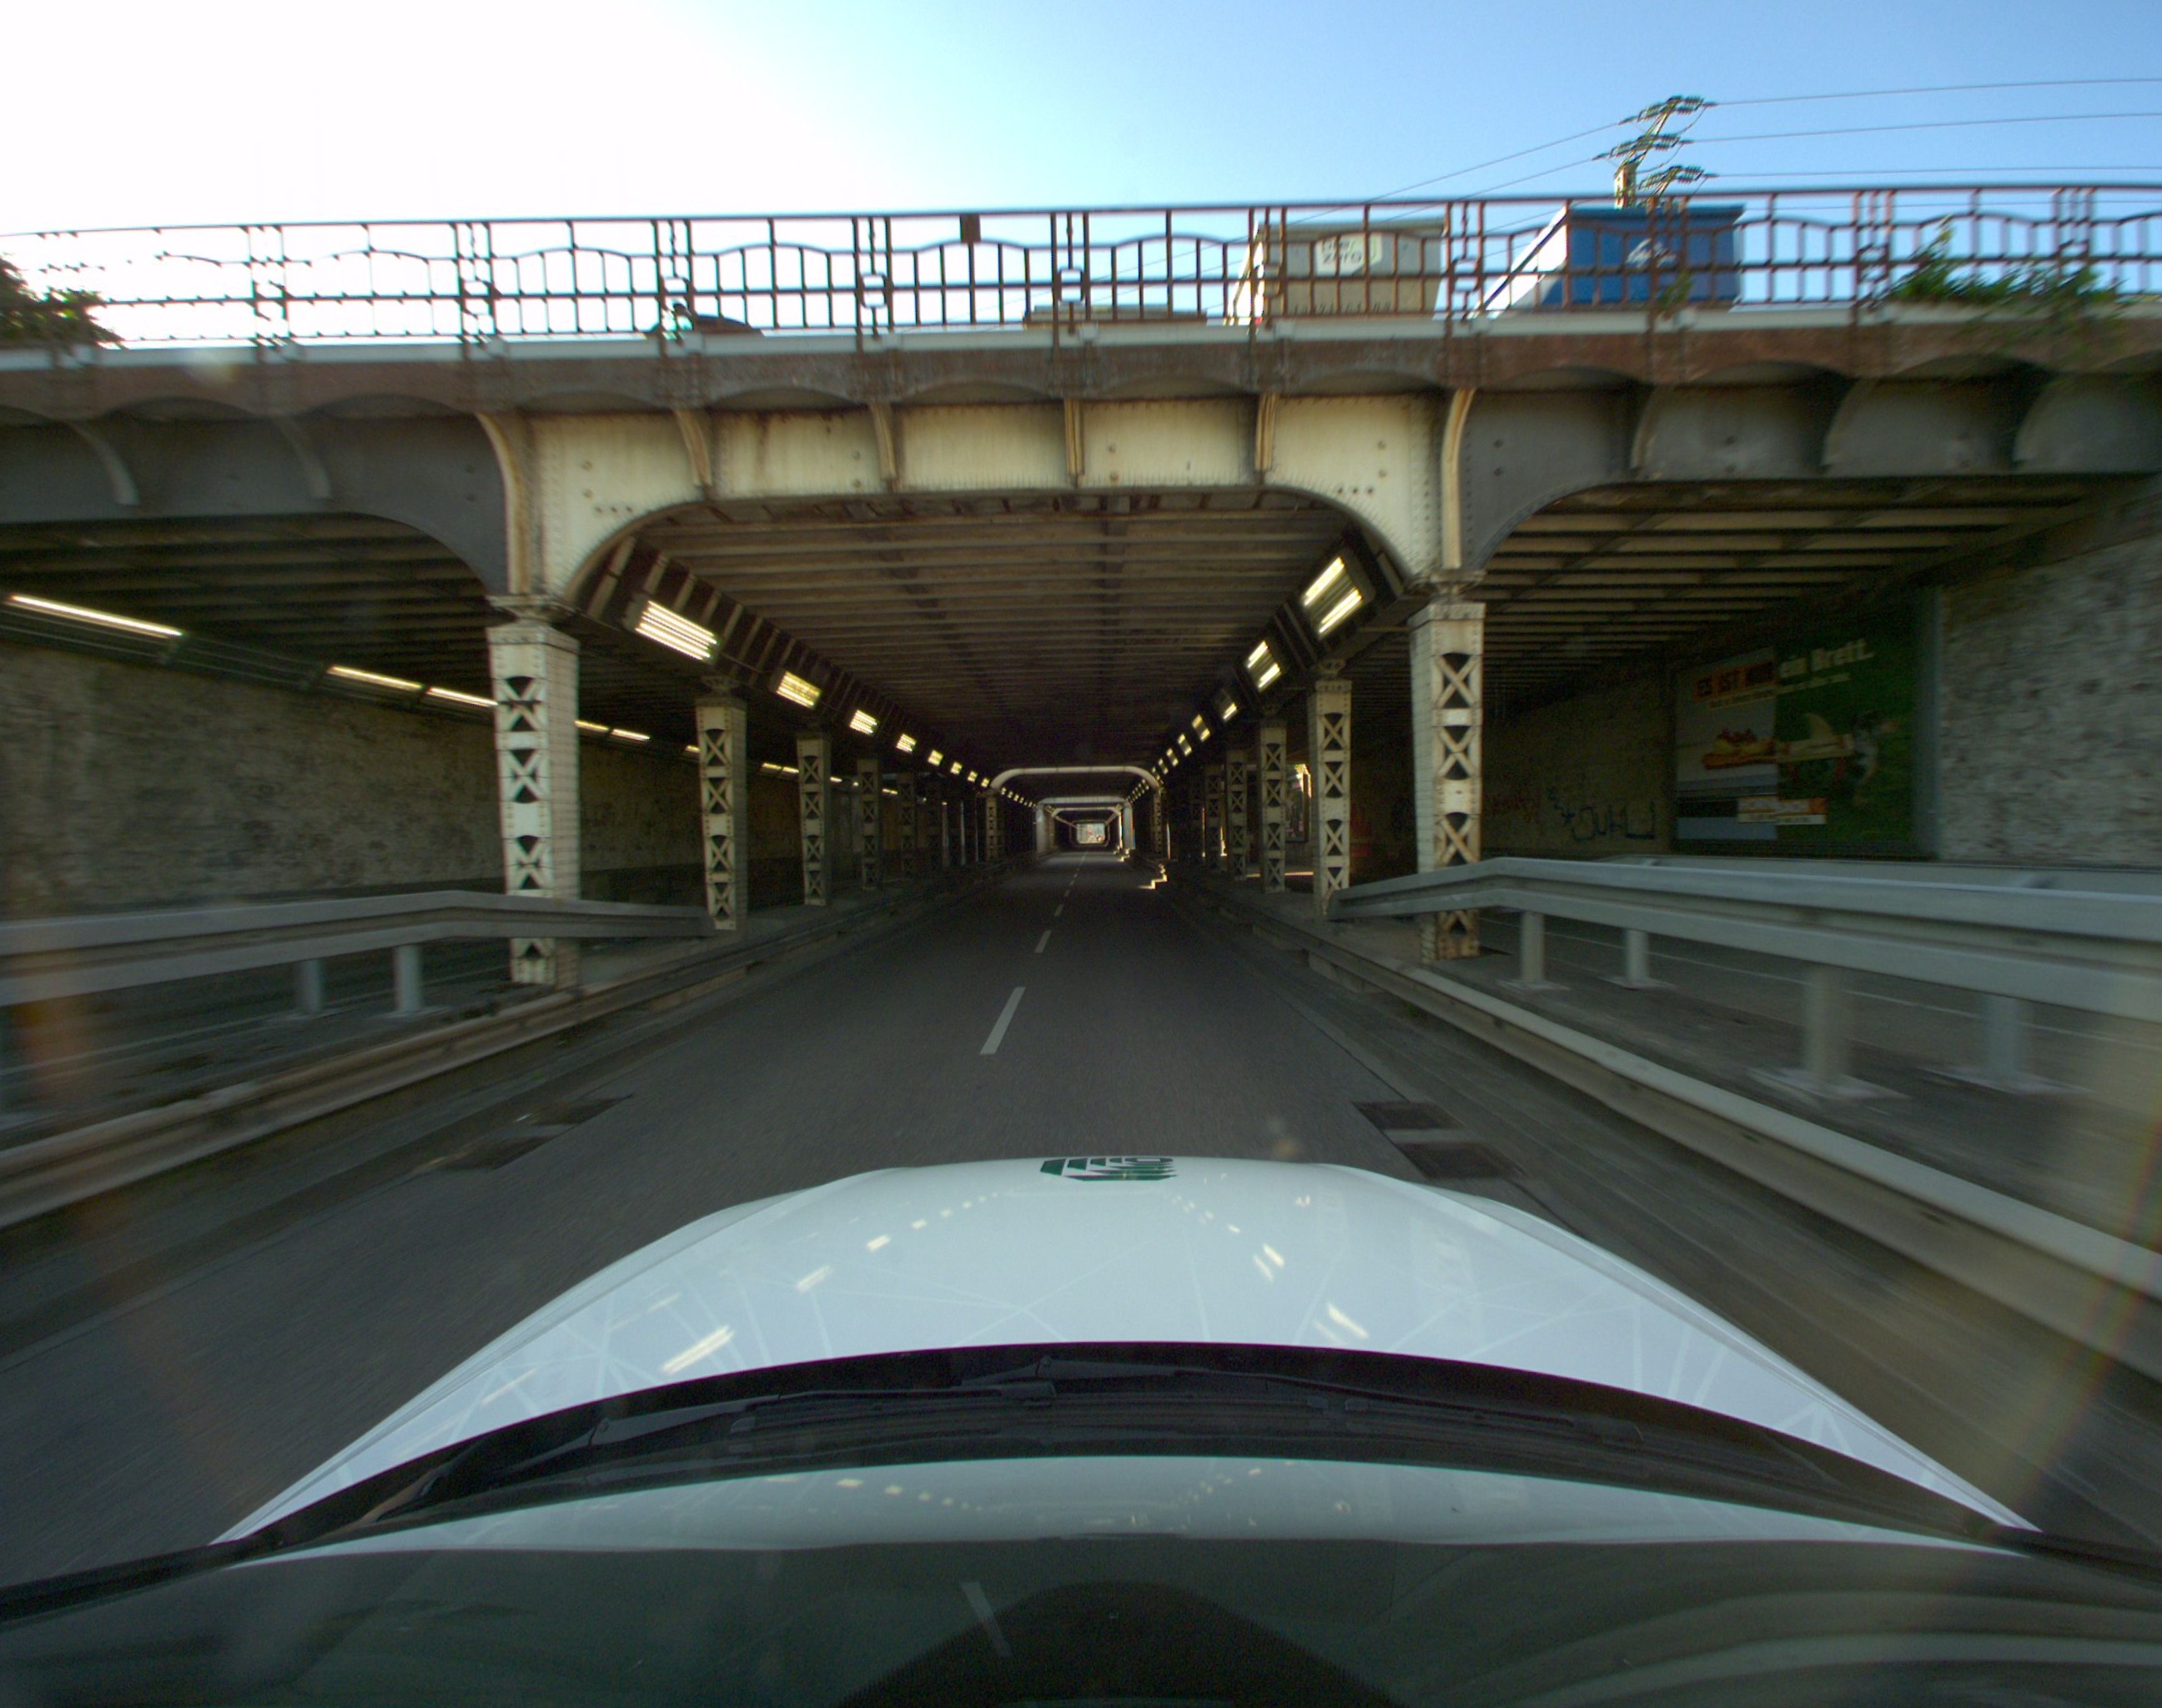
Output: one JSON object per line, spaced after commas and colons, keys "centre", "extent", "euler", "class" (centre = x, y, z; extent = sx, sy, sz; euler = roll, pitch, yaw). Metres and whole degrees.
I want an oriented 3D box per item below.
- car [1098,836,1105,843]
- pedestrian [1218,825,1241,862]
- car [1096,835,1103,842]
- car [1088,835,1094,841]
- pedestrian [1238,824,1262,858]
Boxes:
{"centre": [5.767, -4.131, 230.545], "extent": [1.986, 1.783, 4.001], "euler": [-2, 1, 1], "class": "car"}
{"centre": [7.623, -0.562, 41.863], "extent": [0.878, 1.835, 0.922], "euler": [-4, 1, -2], "class": "pedestrian"}
{"centre": [5.349, -4.579, 239.681], "extent": [1.986, 1.783, 4.001], "euler": [-2, 1, 1], "class": "car"}
{"centre": [3.047, -4.944, 246.448], "extent": [1.986, 1.783, 4.001], "euler": [-2, 1, 1], "class": "car"}
{"centre": [8.546, -0.649, 41.232], "extent": [0.914, 1.656, 0.886], "euler": [-4, 1, -2], "class": "pedestrian"}
